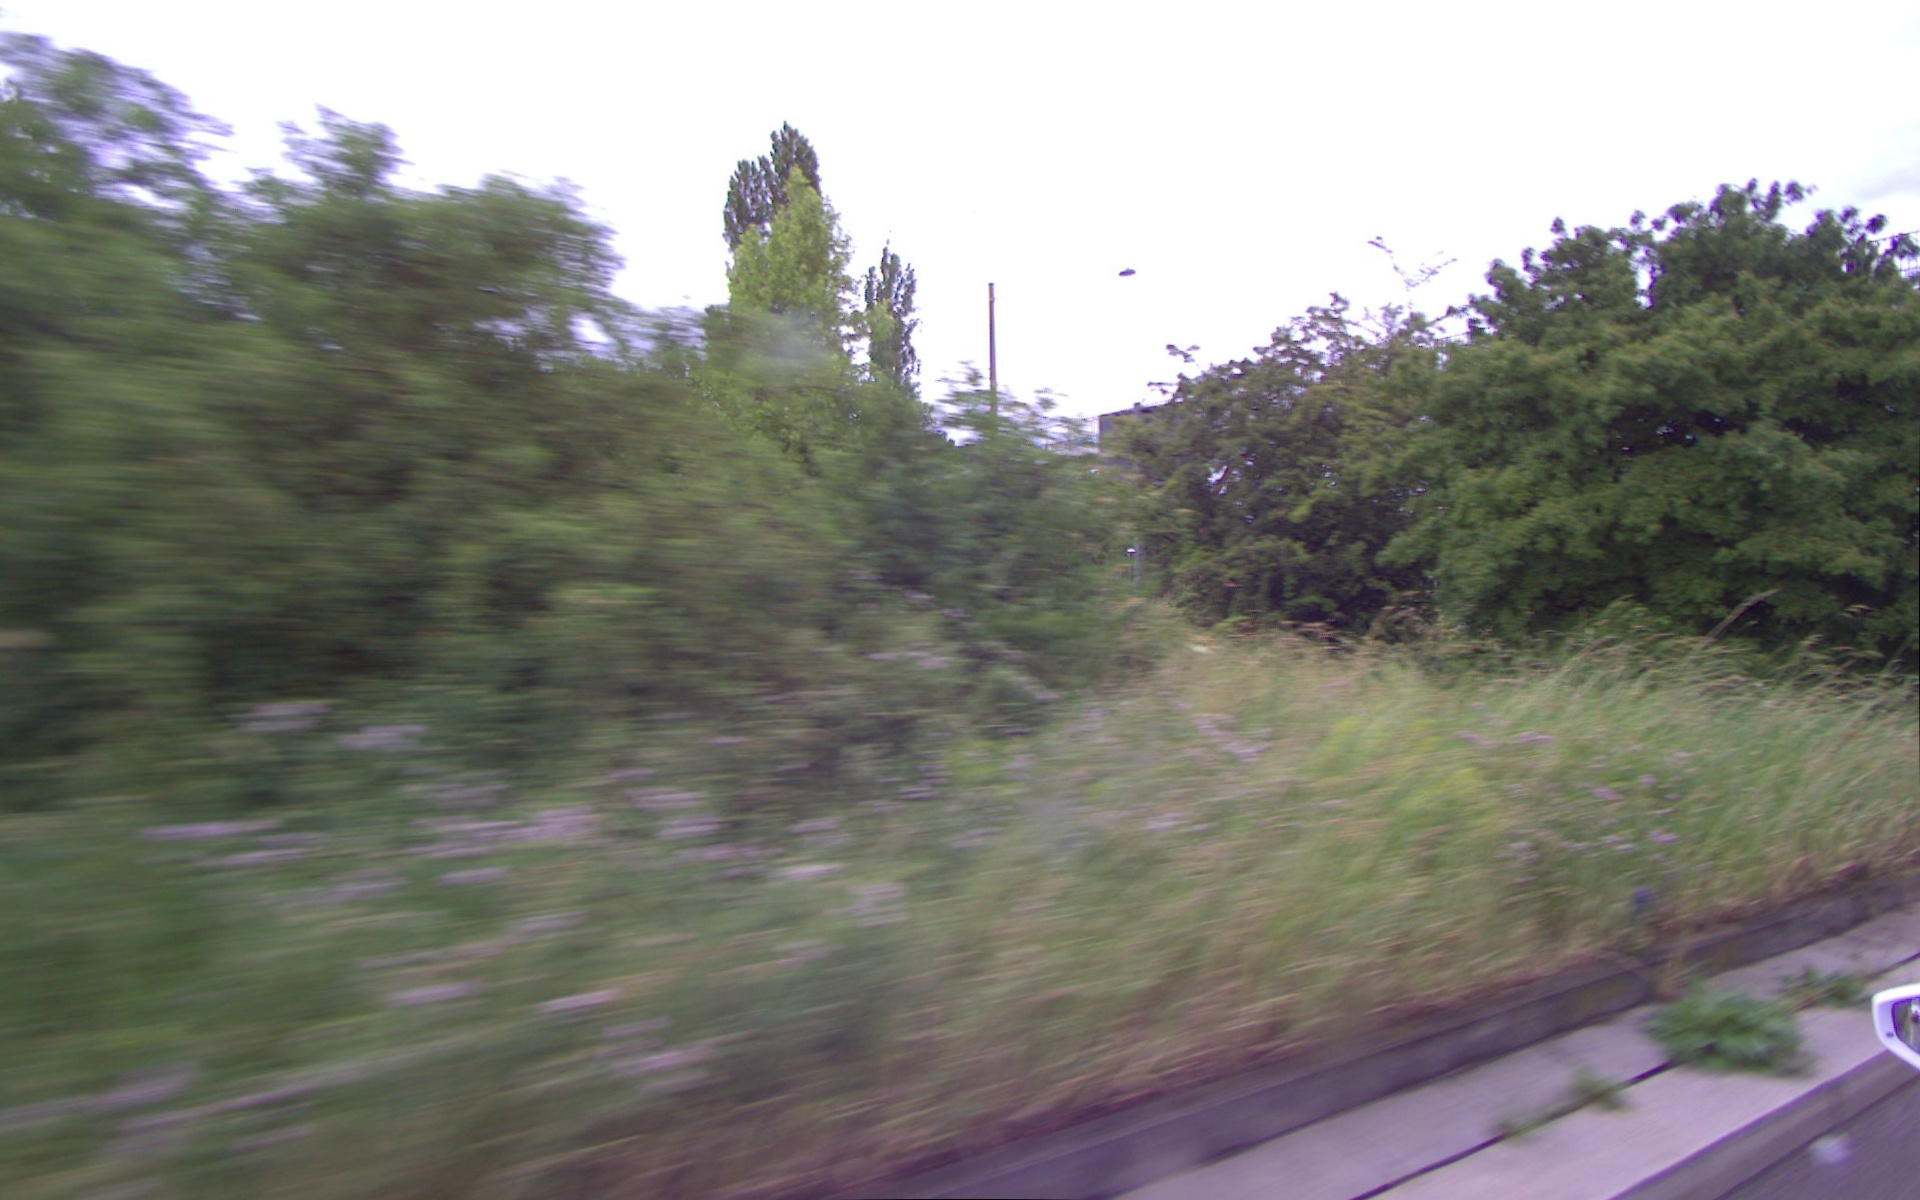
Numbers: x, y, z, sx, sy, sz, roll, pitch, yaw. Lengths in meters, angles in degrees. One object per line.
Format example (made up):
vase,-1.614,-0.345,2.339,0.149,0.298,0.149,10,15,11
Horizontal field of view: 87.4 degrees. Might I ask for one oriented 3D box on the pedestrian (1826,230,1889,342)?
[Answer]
pedestrian,20.507,-7.140,22.952,0.725,2.171,0.908,1,-2,-35
